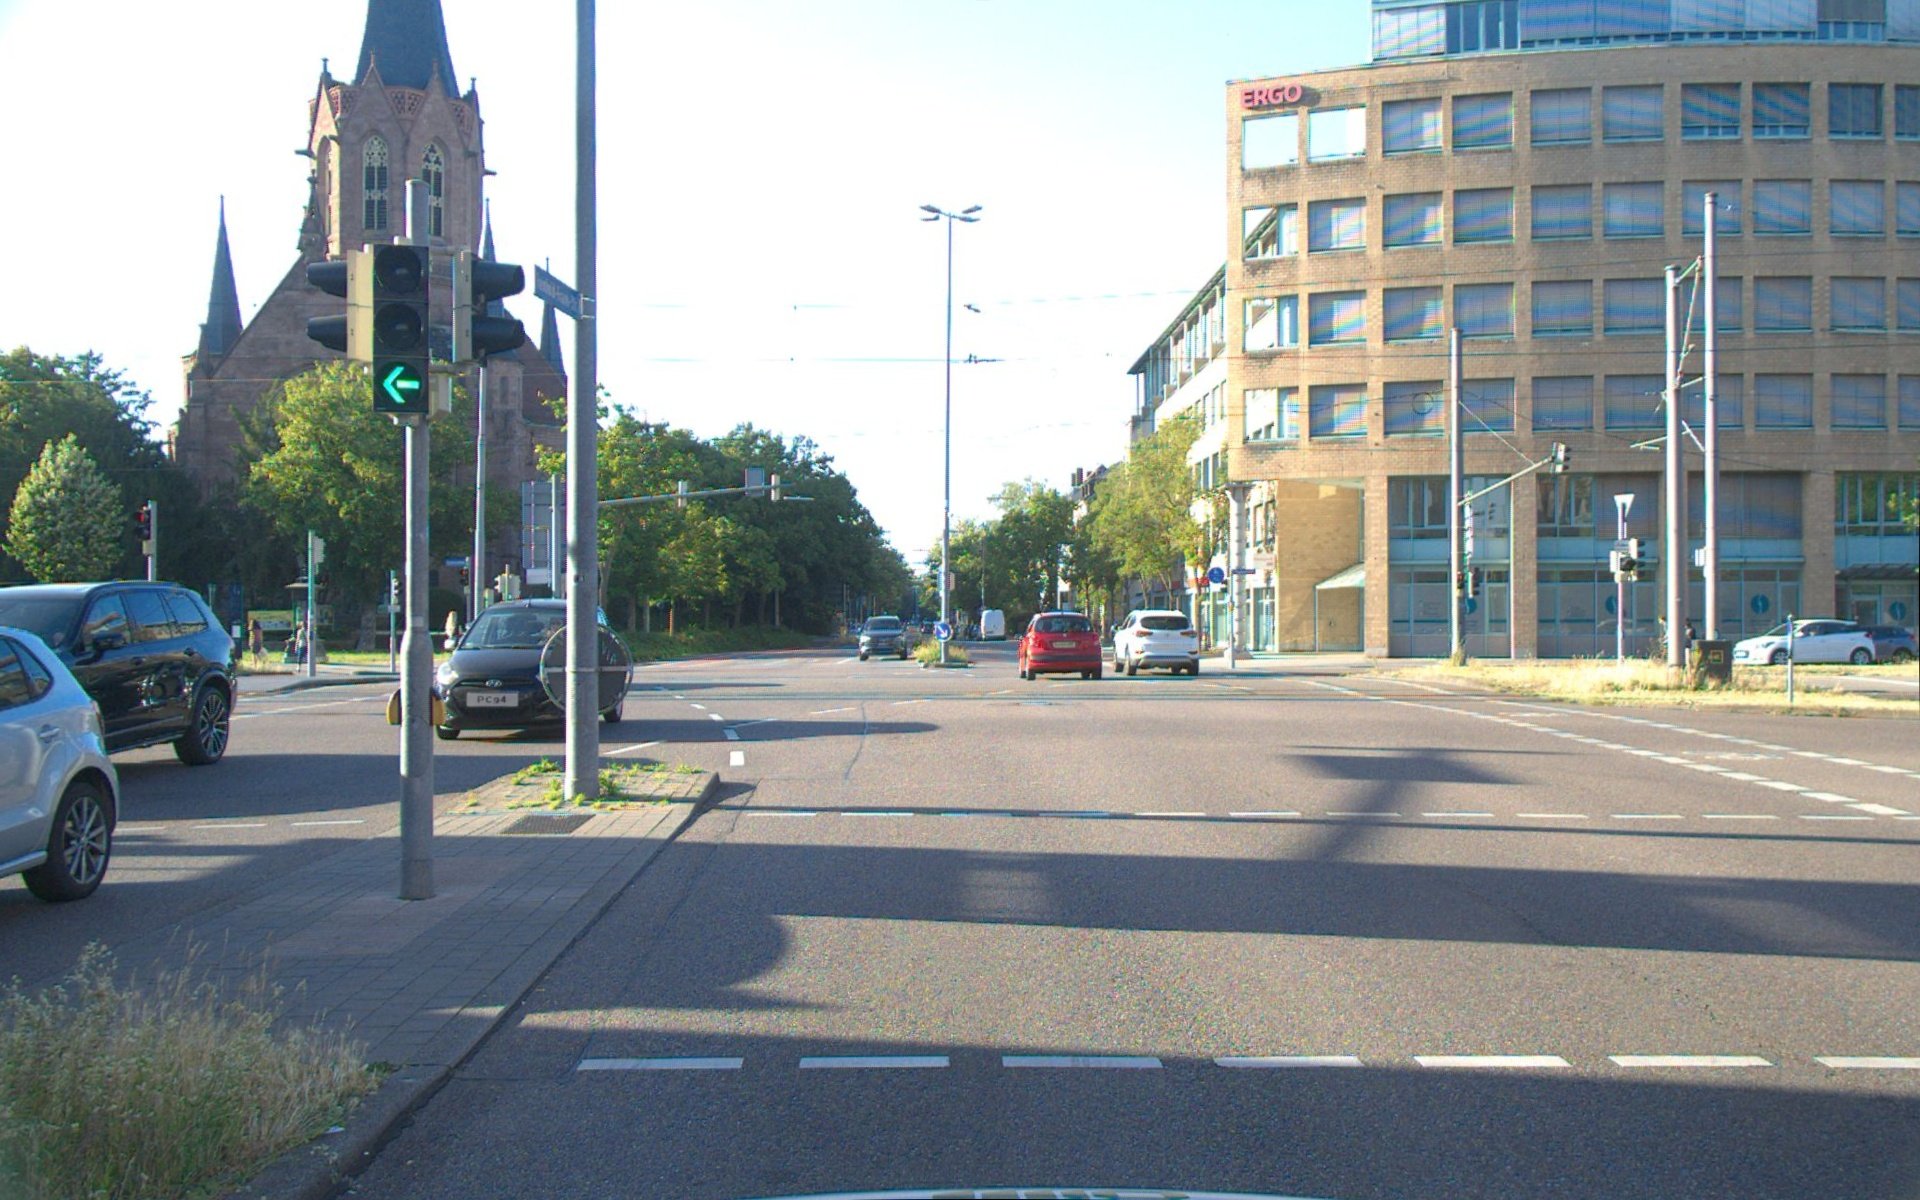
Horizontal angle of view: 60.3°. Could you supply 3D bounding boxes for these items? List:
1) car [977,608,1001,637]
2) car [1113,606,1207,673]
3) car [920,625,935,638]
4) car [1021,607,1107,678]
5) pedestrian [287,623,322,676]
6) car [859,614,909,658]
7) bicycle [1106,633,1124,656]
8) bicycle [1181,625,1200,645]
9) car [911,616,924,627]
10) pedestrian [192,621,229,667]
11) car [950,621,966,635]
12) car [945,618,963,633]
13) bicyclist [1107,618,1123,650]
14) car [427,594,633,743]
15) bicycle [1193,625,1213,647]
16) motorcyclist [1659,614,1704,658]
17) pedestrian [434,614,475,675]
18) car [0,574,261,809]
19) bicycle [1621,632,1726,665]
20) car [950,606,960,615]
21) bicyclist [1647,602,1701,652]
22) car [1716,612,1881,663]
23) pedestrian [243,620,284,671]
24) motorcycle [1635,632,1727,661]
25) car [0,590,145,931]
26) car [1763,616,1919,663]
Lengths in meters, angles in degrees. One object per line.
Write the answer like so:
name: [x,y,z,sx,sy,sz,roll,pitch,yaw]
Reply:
car: [2.536,1.961,143.638,1.953,2.483,3.999,1,-1,-1]
car: [5.198,1.003,43.424,1.877,1.635,4.268,1,-1,-1]
car: [-3.336,3.265,170.406,1.562,1.289,3.266,0,0,-1]
car: [2.288,0.932,37.201,1.636,1.488,3.999,1,-1,-1]
pedestrian: [-21.883,1.638,55.255,0.878,1.726,0.707,0,-1,37]
car: [-3.102,1.506,68.593,1.953,1.754,5.029,0,-2,-2]
bicycle: [6.786,1.954,72.448,0.580,0.959,1.978,1,0,-1]
bicycle: [11.577,1.759,83.085,0.633,1.012,2.080,0,-1,-1]
car: [-6.408,3.254,249.890,1.848,1.700,3.999,1,-1,-1]
pedestrian: [-28.392,1.661,62.626,0.995,1.726,0.842,0,-1,32]
car: [-0.219,2.673,158.650,1.562,1.289,3.266,0,0,-1]
car: [-0.568,2.267,146.401,1.562,1.289,3.266,0,0,-1]
bicyclist: [6.800,1.478,72.431,0.580,1.393,0.929,1,0,-1]
car: [-5.016,0.742,19.716,1.546,1.571,3.476,-2,0,-1]
bicycle: [11.649,1.719,79.379,0.633,1.012,2.080,0,-1,-1]
motorcyclist: [24.413,1.208,55.995,1.044,1.461,1.031,0,-1,-2]
pedestrian: [-14.808,1.294,48.446,0.945,1.770,0.812,0,-1,-1]
car: [-8.048,0.700,14.552,1.779,1.741,4.785,-2,0,-1]
bicycle: [23.068,1.556,53.520,2.901,1.018,1.153,0,-1,-3]
car: [-0.722,1.620,254.267,1.562,1.289,3.266,0,0,-1]
bicyclist: [23.110,0.873,53.558,1.198,1.599,1.153,0,-1,-3]
car: [25.800,1.148,50.990,4.079,1.518,1.994,0,-1,-3]
pedestrian: [-23.897,1.563,56.748,0.994,1.726,0.844,1,-1,26]
motorcycle: [24.400,1.569,55.987,2.663,0.981,1.031,0,-1,-2]
car: [-5.263,0.766,7.109,1.641,1.571,3.805,-2,0,-1]
car: [29.931,1.328,56.167,4.390,1.564,1.986,0,-1,0]
